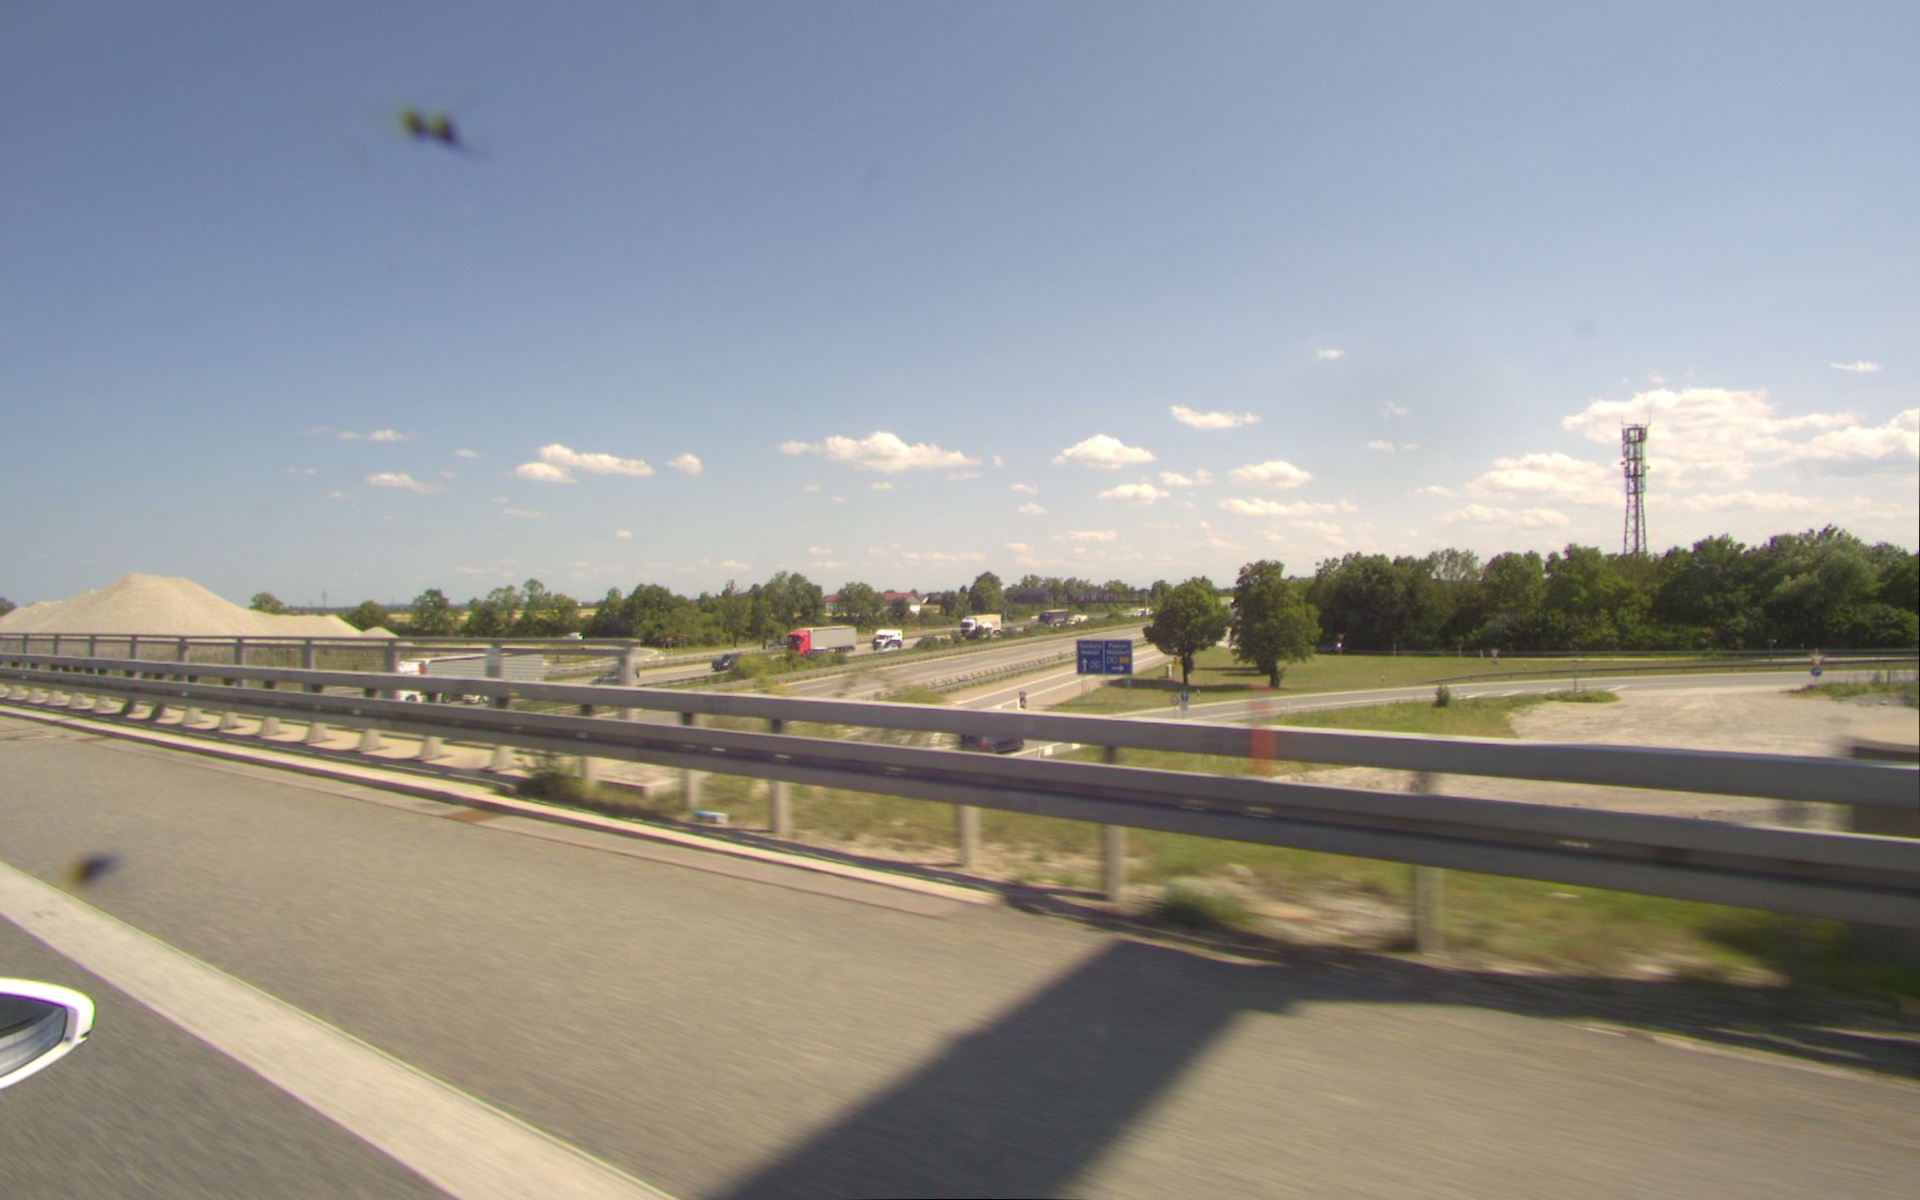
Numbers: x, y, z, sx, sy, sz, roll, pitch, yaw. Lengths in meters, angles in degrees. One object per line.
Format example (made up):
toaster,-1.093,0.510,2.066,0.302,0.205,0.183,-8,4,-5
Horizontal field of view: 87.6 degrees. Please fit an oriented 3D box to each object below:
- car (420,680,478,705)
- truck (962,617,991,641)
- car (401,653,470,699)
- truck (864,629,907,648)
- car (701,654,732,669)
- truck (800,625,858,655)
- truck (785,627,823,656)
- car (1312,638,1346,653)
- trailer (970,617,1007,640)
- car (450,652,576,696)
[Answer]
car,-45.677,8.236,89.623,1.968,2.039,4.396,-1,-2,25
truck,3.519,6.071,207.995,3.098,4.836,8.222,-1,-1,22
car,-47.903,6.848,91.576,2.443,4.014,5.145,-1,-2,25
truck,-12.965,6.745,175.043,3.100,3.099,10.019,-1,-1,24
car,-32.208,8.087,132.444,1.830,1.757,4.335,-1,-1,23
truck,-20.372,6.144,156.614,2.822,4.119,12.535,-1,1,24
truck,-23.364,6.190,149.975,2.823,4.119,5.937,-1,1,24
car,51.841,6.419,140.727,1.735,1.827,4.653,3,-5,-26
trailer,6.237,6.053,214.651,3.098,4.836,14.407,-1,-1,22
car,-44.115,7.204,99.614,2.443,4.014,12.975,-1,-2,25
